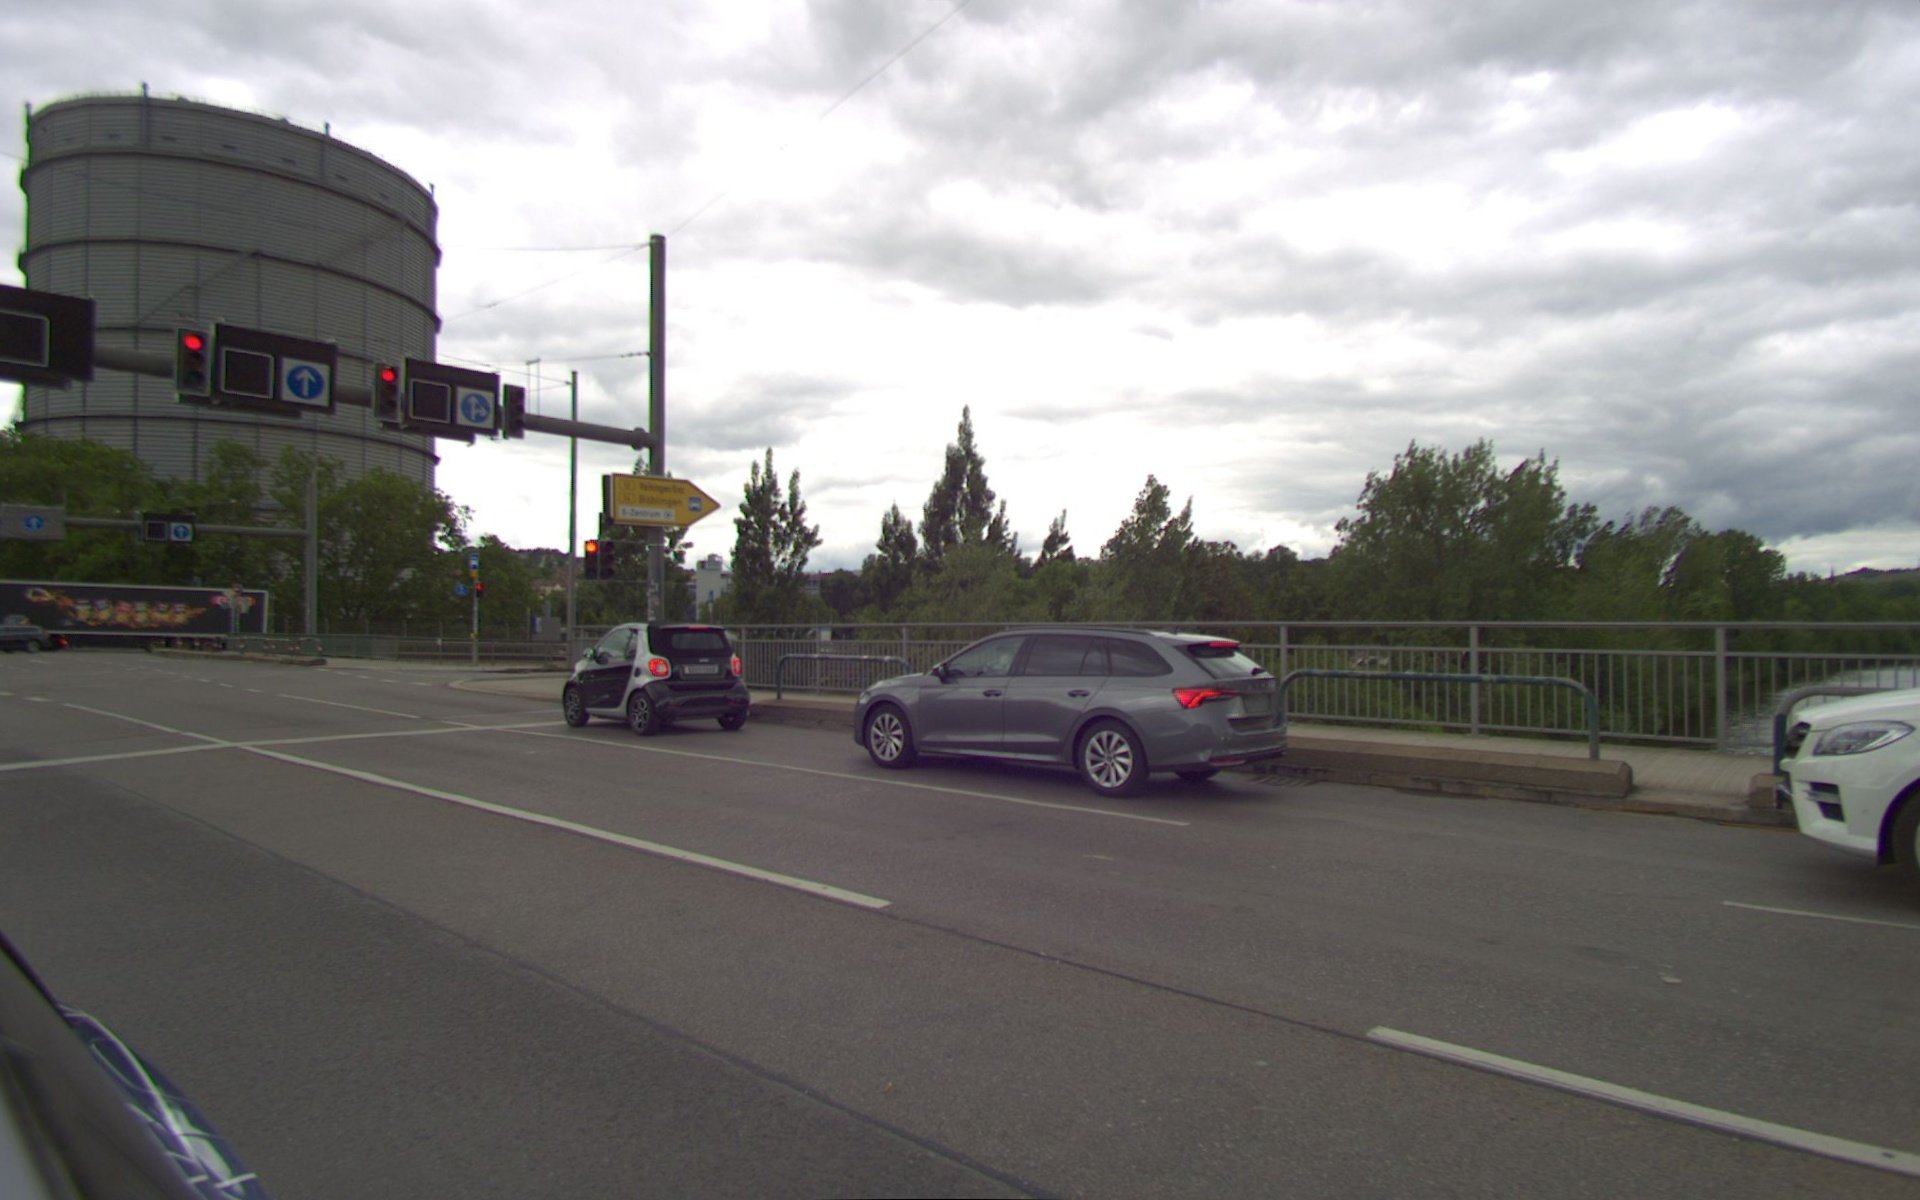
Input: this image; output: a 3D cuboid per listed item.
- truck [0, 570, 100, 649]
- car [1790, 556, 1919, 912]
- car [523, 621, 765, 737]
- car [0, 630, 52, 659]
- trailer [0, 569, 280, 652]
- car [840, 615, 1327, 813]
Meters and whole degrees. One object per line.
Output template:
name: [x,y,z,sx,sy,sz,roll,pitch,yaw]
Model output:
truck: [-54.984,0.554,58.377,7.116,4.355,3.680,2,-4,-12]
car: [6.853,0.646,4.532,4.799,1.774,1.860,-2,-3,40]
car: [-4.828,1.121,15.210,3.872,1.516,1.815,-2,-4,44]
car: [-47.887,2.173,49.803,1.687,1.431,4.431,-1,-3,24]
trailer: [-49.503,0.802,61.200,13.545,4.355,3.682,3,-4,-30]
car: [1.029,0.959,9.950,4.513,1.516,1.817,-2,-3,40]
